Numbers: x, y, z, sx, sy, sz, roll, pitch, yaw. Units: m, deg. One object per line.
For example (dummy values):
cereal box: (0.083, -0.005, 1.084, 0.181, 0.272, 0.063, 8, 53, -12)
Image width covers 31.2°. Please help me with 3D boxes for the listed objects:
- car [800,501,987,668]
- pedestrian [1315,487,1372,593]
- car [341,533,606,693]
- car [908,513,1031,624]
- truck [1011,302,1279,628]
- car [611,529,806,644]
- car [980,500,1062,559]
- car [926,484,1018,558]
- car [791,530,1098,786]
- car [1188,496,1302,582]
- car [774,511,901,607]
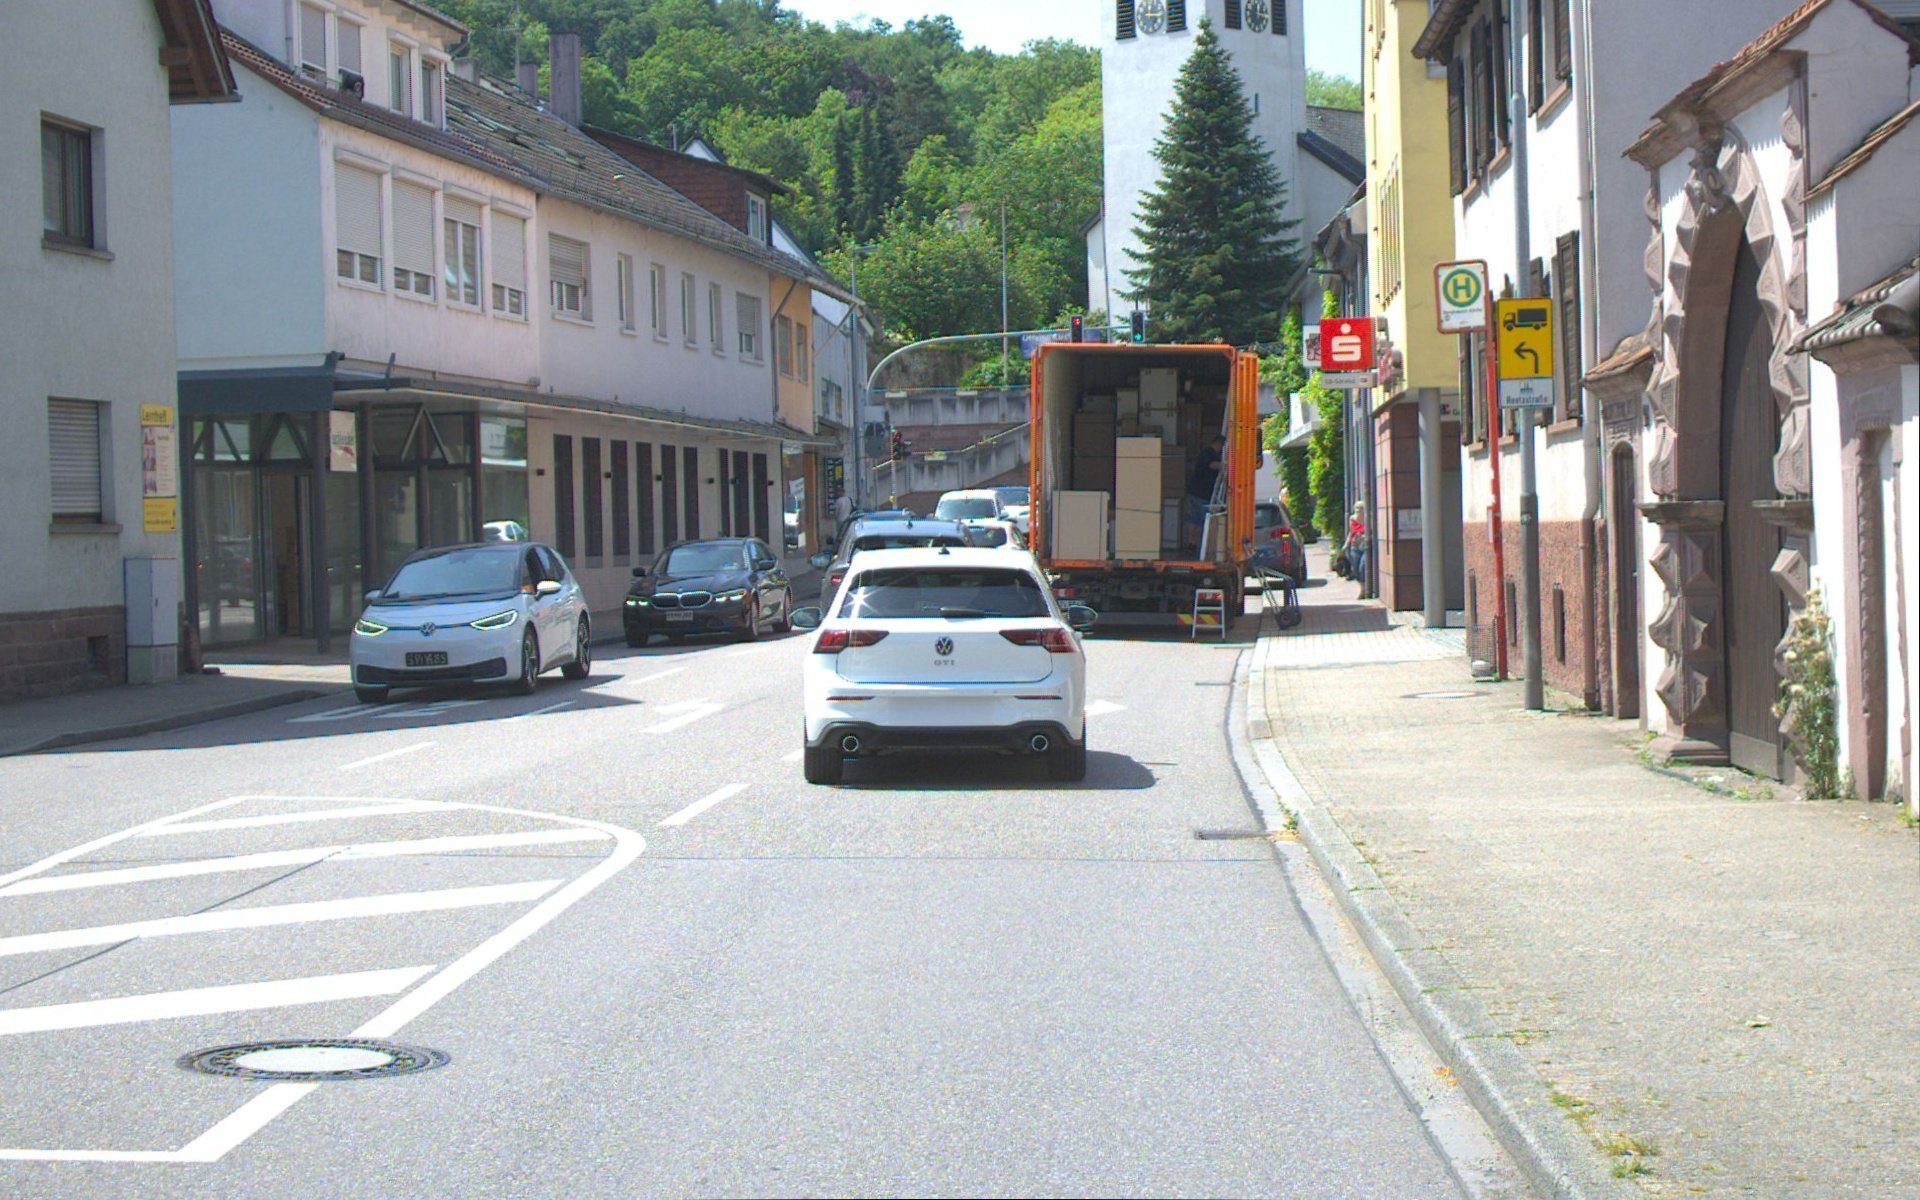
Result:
car: (-0.656, -0.174, 36.850, 1.815, 1.623, 4.000, -2, 0, 1)
pedestrian: (6.406, -1.002, 57.479, 0.769, 1.736, 0.871, -2, 0, -1)
car: (-4.994, 0.106, 35.830, 1.796, 1.503, 4.133, -2, 0, 5)
car: (0.163, -0.499, 54.564, 1.815, 1.623, 4.000, -2, 0, 1)
truck: (2.691, -1.832, 50.117, 3.367, 4.155, 9.518, -2, 0, 3)
car: (-3.512, -0.217, 48.784, 1.794, 1.487, 4.420, -2, 0, 8)
car: (1.840, -2.077, 102.067, 1.994, 1.645, 3.999, -2, 0, 7)
car: (0.335, -2.038, 88.127, 1.802, 1.773, 4.704, -2, 2, 6)
car: (-0.067, 0.325, 22.322, 1.815, 1.514, 4.000, 0, 1, 1)
car: (5.345, -1.134, 64.899, 1.815, 1.514, 4.000, -2, 0, 1)
car: (-2.372, -0.835, 67.428, 1.692, 1.693, 4.111, -2, 2, 9)
